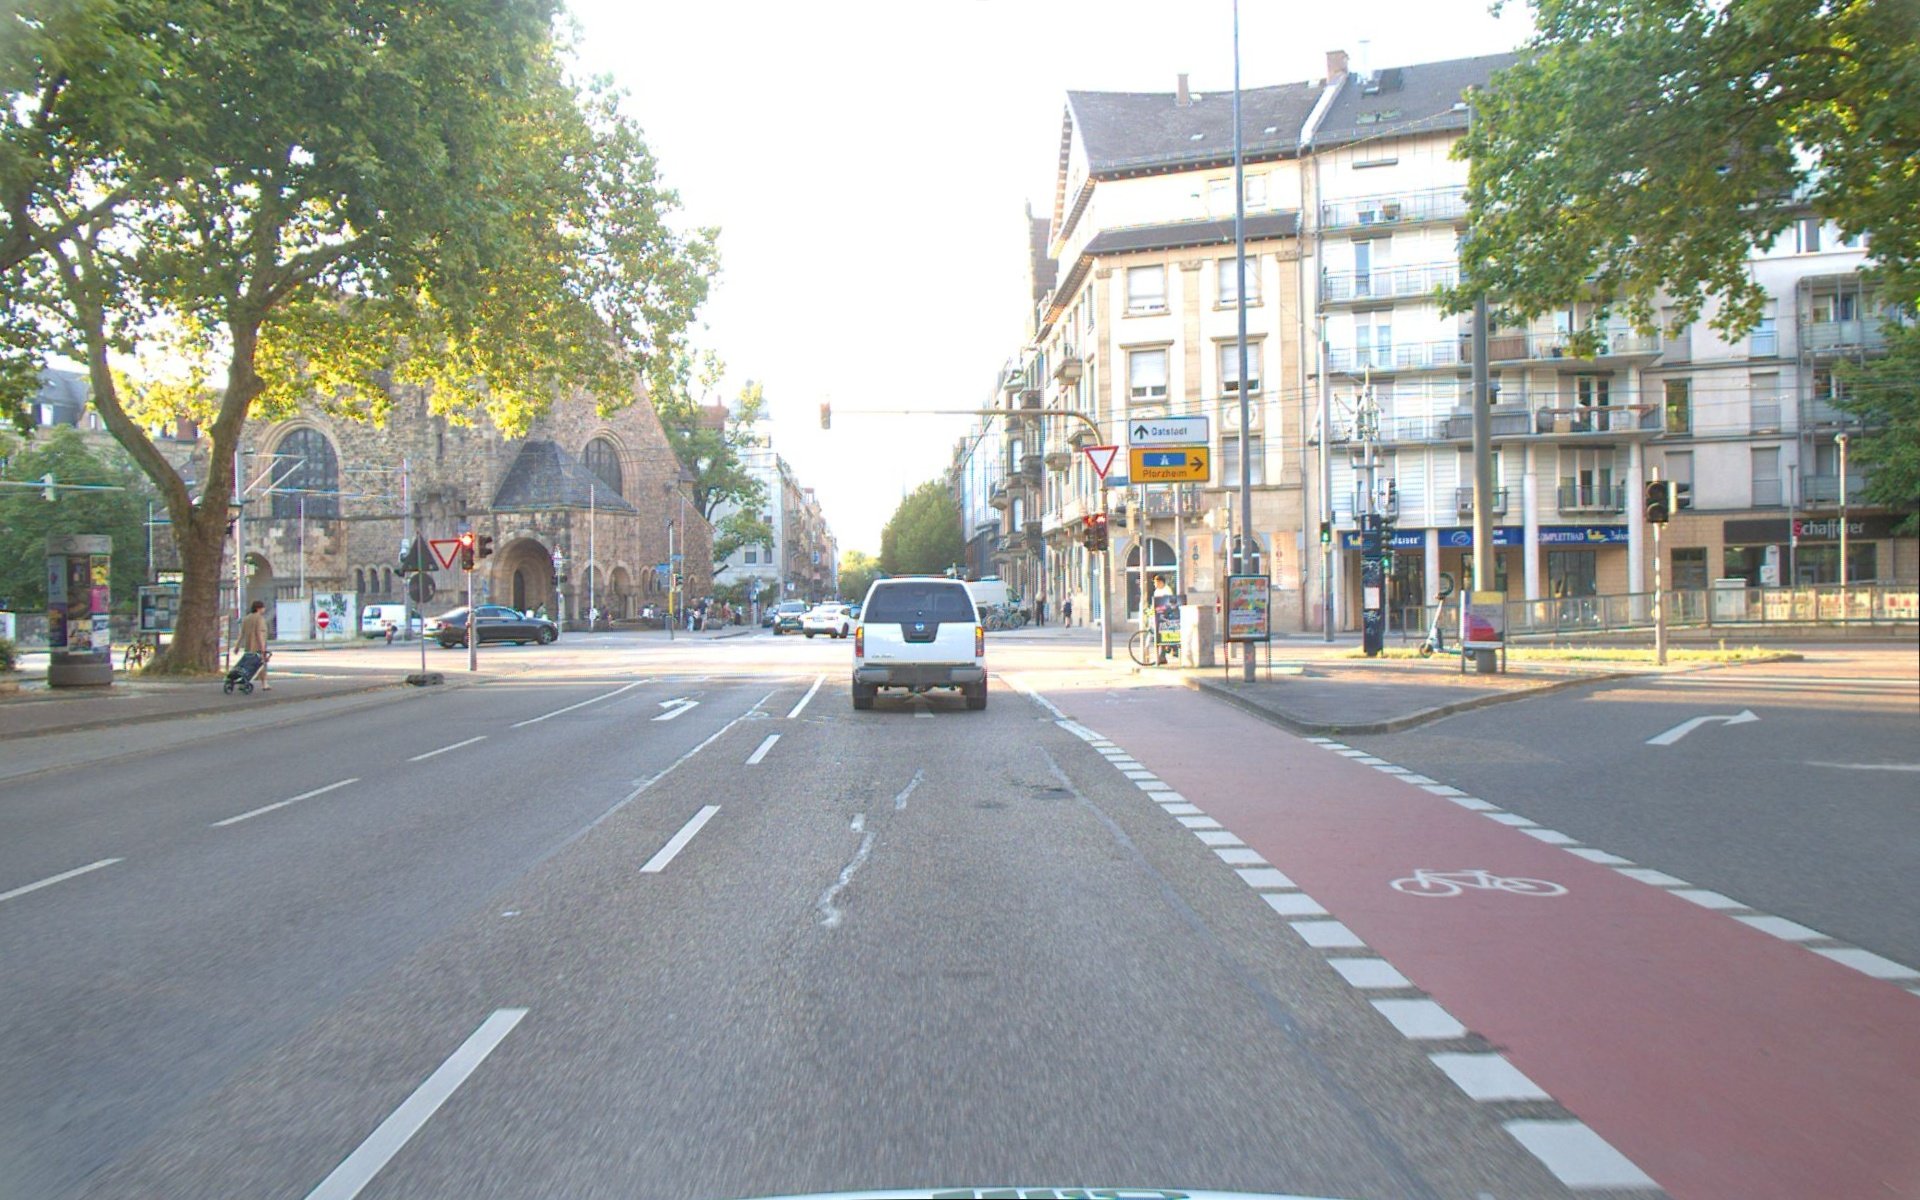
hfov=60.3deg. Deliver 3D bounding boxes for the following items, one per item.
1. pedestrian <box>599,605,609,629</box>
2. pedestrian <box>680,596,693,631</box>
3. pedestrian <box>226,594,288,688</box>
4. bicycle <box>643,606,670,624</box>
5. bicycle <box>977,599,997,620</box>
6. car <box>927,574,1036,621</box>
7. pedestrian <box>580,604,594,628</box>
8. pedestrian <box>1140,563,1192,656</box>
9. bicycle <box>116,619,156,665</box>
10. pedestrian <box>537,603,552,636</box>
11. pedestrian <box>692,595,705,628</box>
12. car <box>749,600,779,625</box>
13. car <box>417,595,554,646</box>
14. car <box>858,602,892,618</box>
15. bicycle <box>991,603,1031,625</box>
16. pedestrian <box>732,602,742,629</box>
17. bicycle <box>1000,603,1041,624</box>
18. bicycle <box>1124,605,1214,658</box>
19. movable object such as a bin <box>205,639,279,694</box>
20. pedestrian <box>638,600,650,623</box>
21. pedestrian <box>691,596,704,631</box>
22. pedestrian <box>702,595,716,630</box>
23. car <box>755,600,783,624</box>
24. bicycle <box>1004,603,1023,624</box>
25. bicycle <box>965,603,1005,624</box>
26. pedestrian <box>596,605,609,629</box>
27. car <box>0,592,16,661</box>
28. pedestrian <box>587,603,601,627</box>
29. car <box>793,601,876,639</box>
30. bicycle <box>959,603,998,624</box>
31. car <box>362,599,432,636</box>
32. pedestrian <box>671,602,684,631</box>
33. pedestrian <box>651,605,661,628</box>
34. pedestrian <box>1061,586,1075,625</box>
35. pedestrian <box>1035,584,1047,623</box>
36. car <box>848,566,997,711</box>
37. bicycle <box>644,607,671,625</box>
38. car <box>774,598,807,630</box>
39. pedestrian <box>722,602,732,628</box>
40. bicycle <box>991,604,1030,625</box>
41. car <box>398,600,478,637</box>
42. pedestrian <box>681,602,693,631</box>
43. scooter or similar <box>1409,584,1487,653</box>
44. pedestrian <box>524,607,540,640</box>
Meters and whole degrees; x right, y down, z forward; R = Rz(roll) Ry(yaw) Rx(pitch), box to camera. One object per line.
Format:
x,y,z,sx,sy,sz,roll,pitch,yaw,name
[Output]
-19.598,0.943,91.045,0.491,1.303,0.489,-1,0,-23,pedestrian
-15.459,0.760,93.430,0.581,1.919,0.553,-1,0,2,pedestrian
-12.612,0.721,29.685,0.722,1.657,0.686,-1,0,13,pedestrian
-17.719,0.880,96.523,1.467,0.985,0.395,-1,0,9,bicycle
1.324,0.461,81.960,0.532,0.985,1.922,-1,0,15,bicycle
1.156,-0.159,85.671,5.774,2.328,2.041,-1,0,-42,car
-20.349,0.858,90.295,0.560,1.313,0.487,-1,0,13,pedestrian
4.081,0.178,32.719,0.782,1.799,0.718,-1,0,-16,pedestrian
-19.749,0.987,39.633,0.540,1.061,1.896,-1,0,-36,bicycle
-20.277,0.959,80.725,0.544,1.612,0.549,-1,0,9,pedestrian
-15.497,0.660,98.004,0.580,1.919,0.554,-1,0,15,pedestrian
-13.277,0.837,112.251,1.955,1.680,3.816,1,0,-7,car
-16.732,0.709,58.412,4.232,1.680,1.968,-1,0,-43,car
-9.904,1.138,193.050,3.909,1.847,1.998,-1,0,-5,car
2.447,0.671,79.405,1.876,0.985,0.546,-1,0,-1,bicycle
-16.524,1.147,122.702,0.540,1.919,0.596,-1,0,13,pedestrian
2.923,0.678,80.184,1.874,0.985,0.546,-1,0,16,bicycle
4.065,0.609,32.219,1.659,0.985,0.545,-1,0,-6,bicycle
-12.536,1.161,28.893,0.722,0.906,0.983,-1,0,13,movable object such as a bin
-18.285,0.690,95.711,0.560,1.313,0.487,-1,0,13,pedestrian
-14.834,0.768,93.528,0.581,1.919,0.553,-1,0,1,pedestrian
-14.183,0.699,93.566,0.640,1.919,0.586,-1,0,4,pedestrian
-13.870,0.844,119.968,1.955,1.680,3.816,1,0,-7,car
2.639,0.674,81.549,0.532,0.985,1.922,-1,0,15,bicycle
1.195,0.661,79.848,1.879,0.985,0.545,-1,0,-8,bicycle
-19.578,0.935,90.544,0.487,1.309,0.493,-1,0,18,pedestrian
-27.888,0.785,43.908,2.036,1.873,4.631,-1,1,23,car
-20.240,0.820,91.399,0.560,1.343,0.487,-1,0,13,pedestrian
-5.463,0.867,72.638,1.952,1.557,4.645,-1,0,19,car
0.904,0.659,80.655,1.876,0.985,0.546,-1,0,-1,bicycle
-30.677,0.922,90.135,1.673,1.943,3.493,-1,0,24,car
-18.932,1.110,110.806,0.581,1.919,0.553,-1,0,22,pedestrian
-17.589,0.947,95.667,0.481,1.309,0.499,-1,0,-2,pedestrian
4.971,0.244,76.098,0.581,1.799,0.653,-1,0,3,pedestrian
4.021,0.180,82.198,0.581,1.919,0.648,-1,0,3,pedestrian
-0.439,0.493,23.251,1.827,1.846,4.001,1,0,2,car
-17.735,0.945,96.885,1.467,0.985,0.395,-1,0,9,bicycle
-9.259,0.743,90.361,1.747,1.680,3.816,1,0,-7,car
-17.267,1.132,122.550,0.545,1.919,0.590,-1,0,-25,pedestrian
2.416,0.680,79.200,1.876,0.985,0.546,-1,0,-1,bicycle
-27.551,0.980,87.328,3.714,1.837,1.713,-1,0,20,car
-18.496,1.105,112.222,0.581,1.919,0.553,-1,0,21,pedestrian
9.356,0.350,31.741,0.540,1.272,1.371,-1,0,-38,scooter or similar
-20.889,1.136,80.737,0.544,1.612,0.549,-1,0,9,pedestrian
